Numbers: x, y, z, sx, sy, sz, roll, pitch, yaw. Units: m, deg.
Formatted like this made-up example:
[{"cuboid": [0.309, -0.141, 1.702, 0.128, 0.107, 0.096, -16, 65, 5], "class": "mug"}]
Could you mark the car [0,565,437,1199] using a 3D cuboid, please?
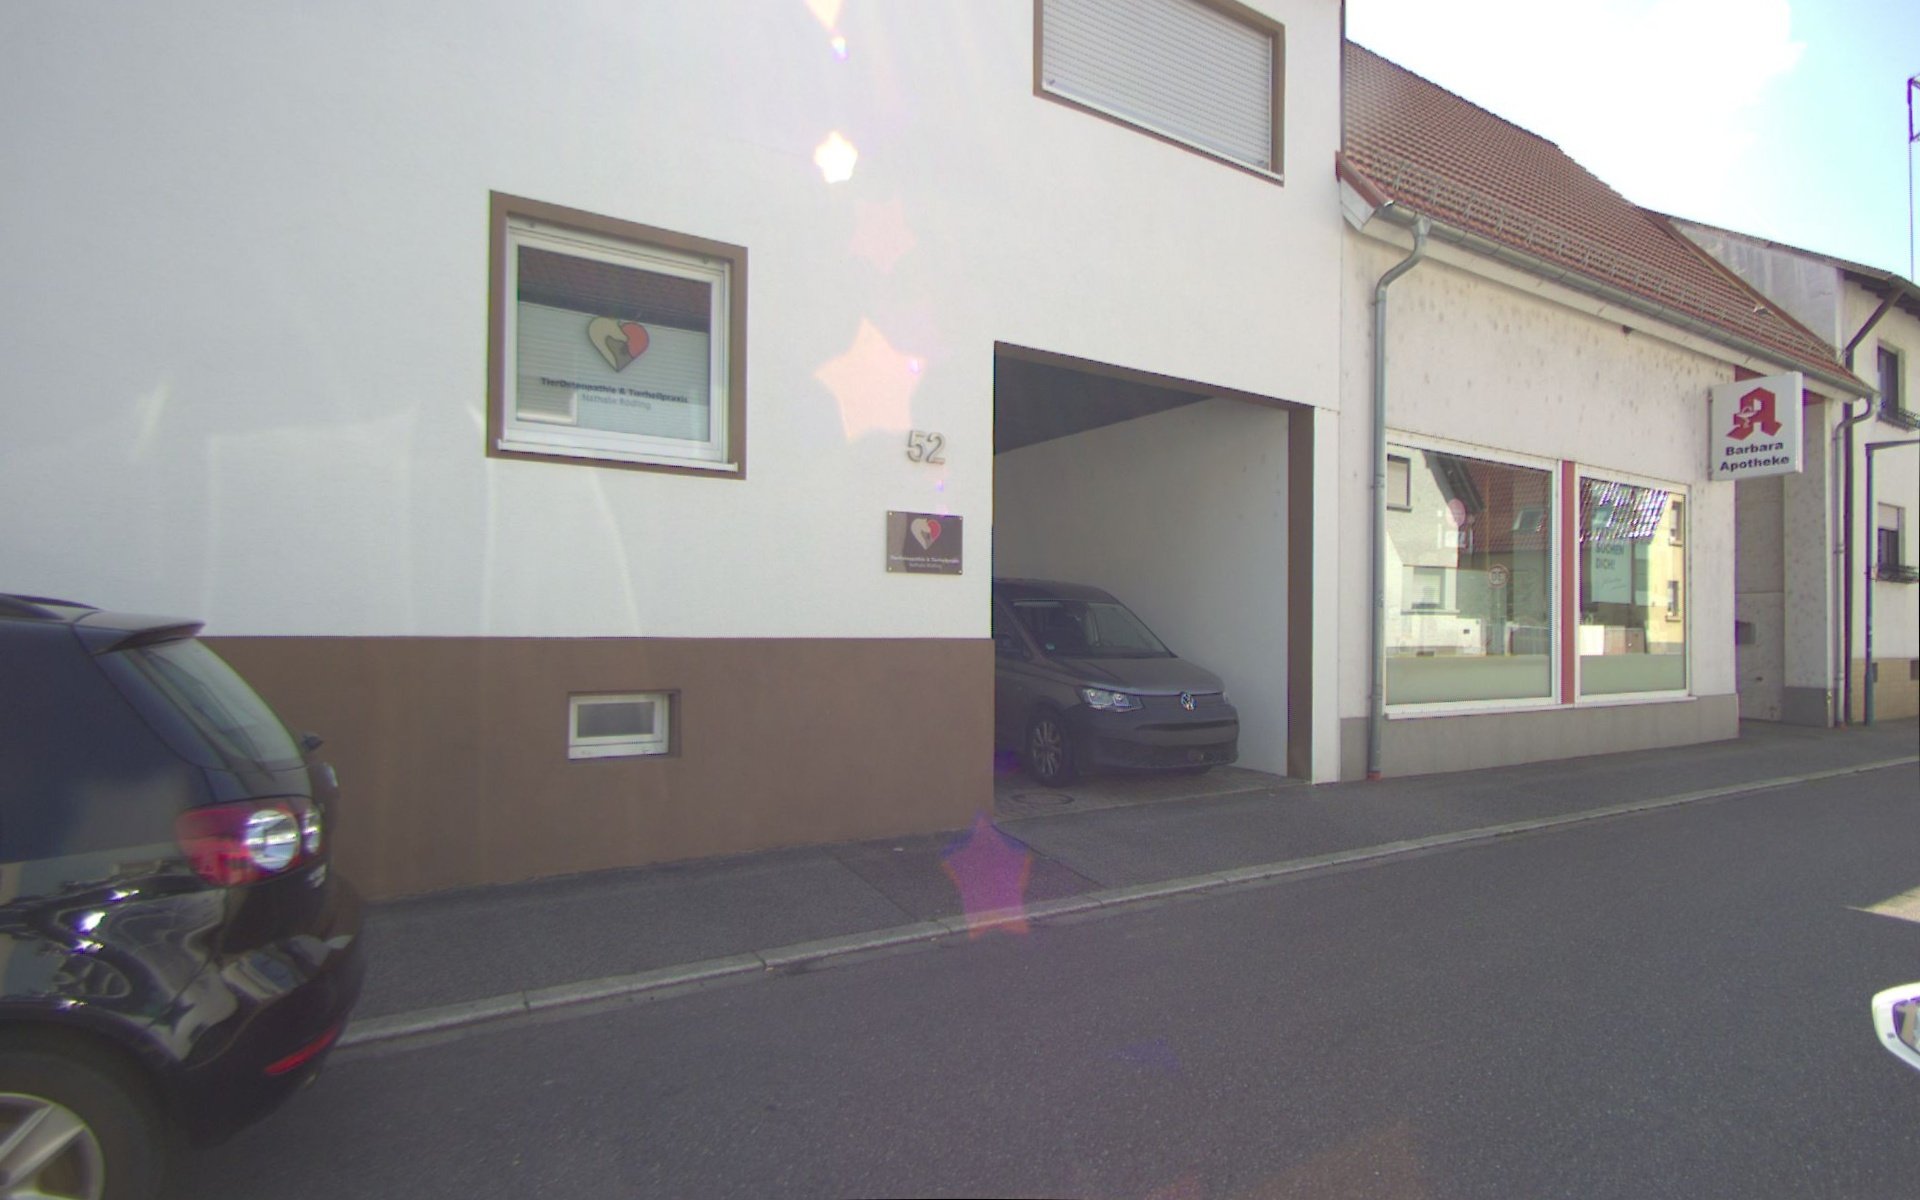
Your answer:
[{"cuboid": [-3.408, 0.710, 2.137, 3.913, 1.586, 1.737, 1, -2, -34], "class": "car"}]

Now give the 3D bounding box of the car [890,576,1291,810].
[{"cuboid": [1.006, 0.676, 9.702, 1.793, 1.741, 3.968, 1, 1, -30], "class": "car"}]
